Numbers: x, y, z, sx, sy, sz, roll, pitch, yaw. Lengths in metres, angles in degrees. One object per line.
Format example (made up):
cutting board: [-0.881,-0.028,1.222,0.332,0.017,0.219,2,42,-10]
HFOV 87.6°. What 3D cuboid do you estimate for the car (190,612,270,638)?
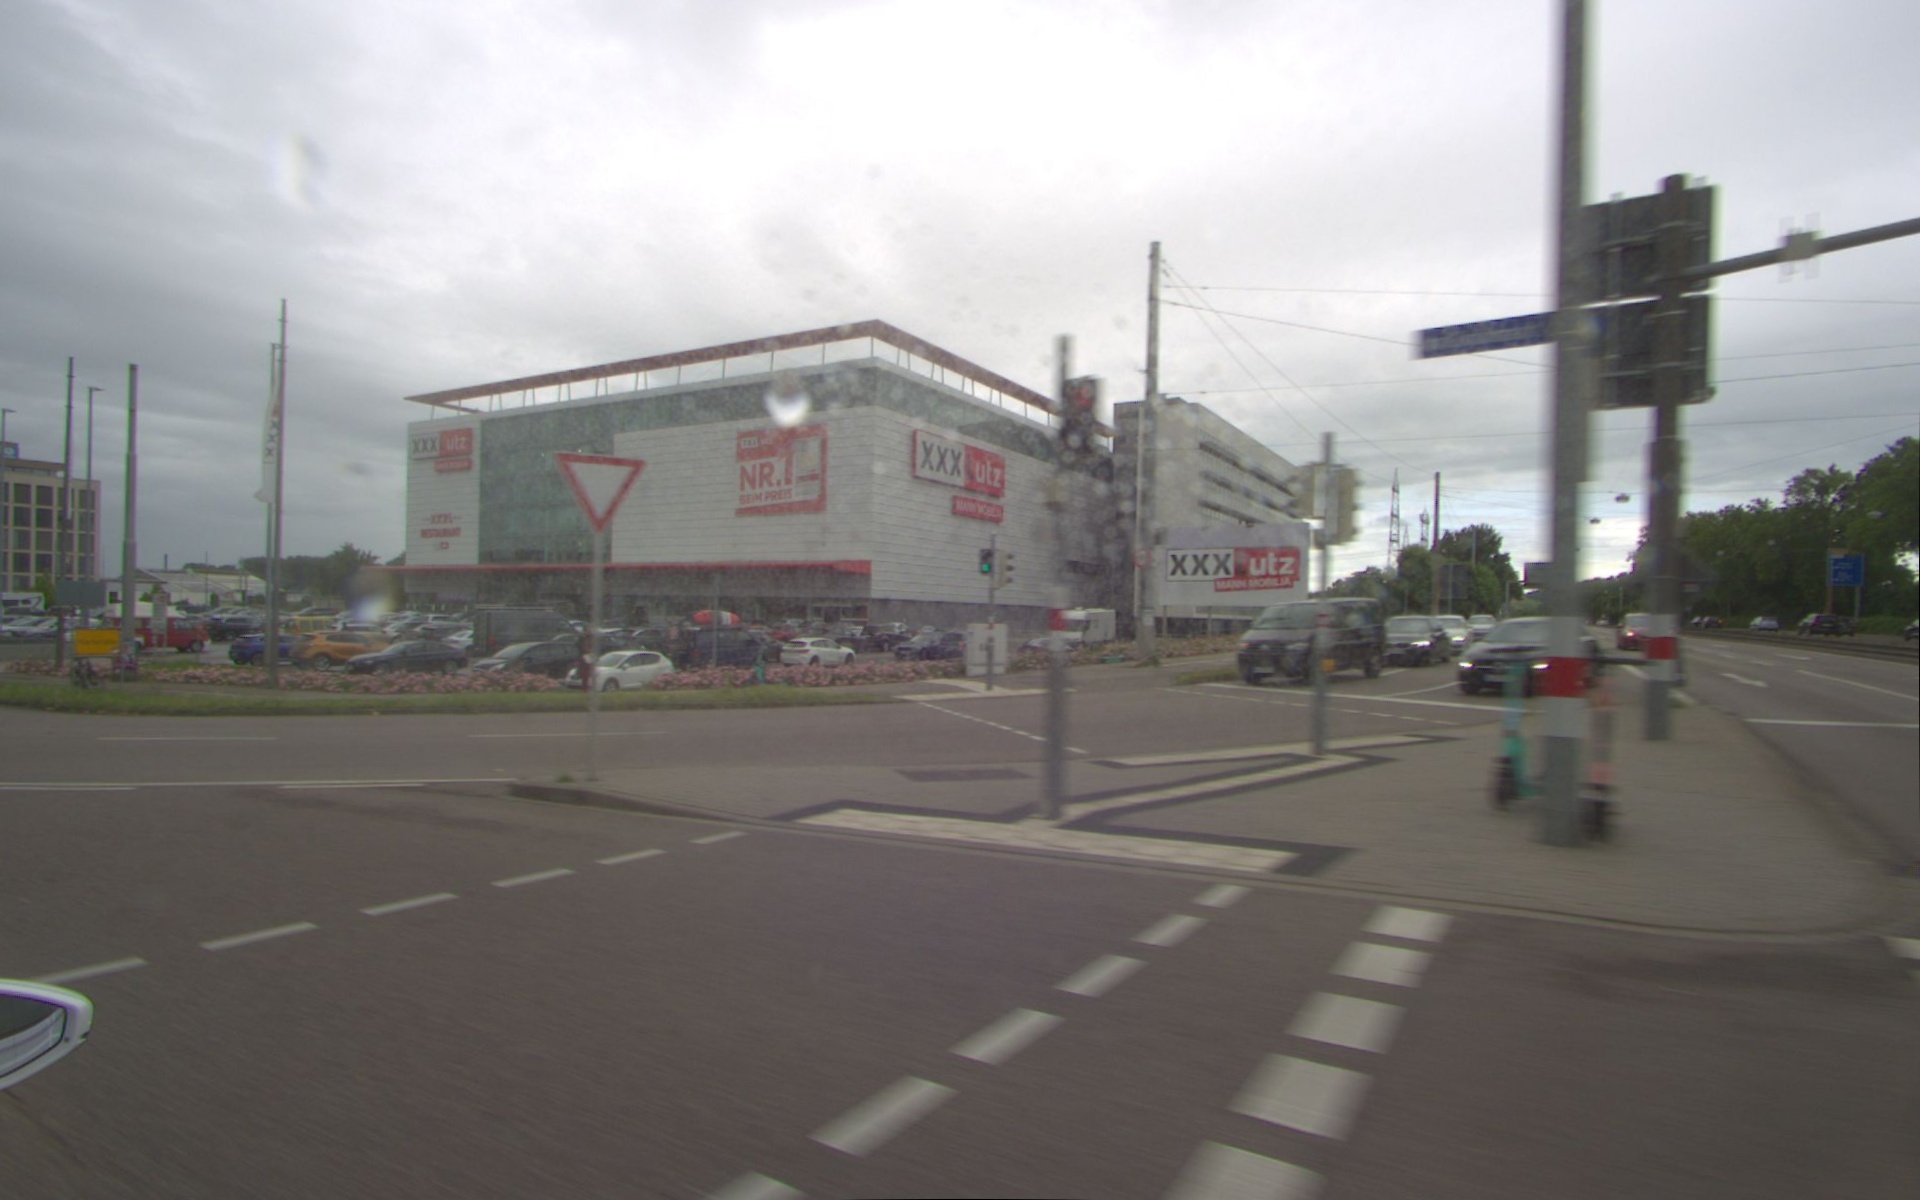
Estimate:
car: [-50.939,1.769,69.959,1.808,1.685,4.164,0,-2,34]

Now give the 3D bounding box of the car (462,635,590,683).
car: [-15.995,2.135,37.112,1.743,1.604,4.086,2,-1,31]

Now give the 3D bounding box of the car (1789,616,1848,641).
car: [60.801,1.979,71.011,1.806,1.658,4.307,2,0,22]

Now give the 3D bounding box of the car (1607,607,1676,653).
car: [27.376,1.199,40.311,1.970,1.750,3.982,0,-1,30]

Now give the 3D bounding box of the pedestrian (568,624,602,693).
pedestrian: [-9.087,1.407,24.278,0.704,1.617,0.782,-1,-1,-19]

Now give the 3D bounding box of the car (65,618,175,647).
car: [-47.381,1.849,56.590,1.932,1.480,4.367,3,0,33]

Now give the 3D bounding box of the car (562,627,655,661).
car: [-17.297,2.159,49.404,1.922,1.575,3.975,0,-2,37]

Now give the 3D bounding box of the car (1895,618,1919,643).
car: [62.379,2.010,64.389,1.831,1.582,4.306,4,1,23]

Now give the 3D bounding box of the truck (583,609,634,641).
truck: [-27.785,1.979,79.277,1.713,2.417,3.566,0,-2,30]

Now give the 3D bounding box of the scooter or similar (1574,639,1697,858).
scooter or similar: [4.374,0.902,6.465,0.460,1.272,1.009,-2,-1,44]

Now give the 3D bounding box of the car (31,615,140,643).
car: [-51.190,1.712,58.690,1.840,1.437,4.458,3,0,33]

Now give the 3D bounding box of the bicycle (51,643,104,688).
bicycle: [-21.700,1.598,24.619,1.670,1.062,0.661,-1,-2,38]

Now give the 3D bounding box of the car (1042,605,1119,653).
car: [8.504,2.040,70.105,2.727,3.028,6.921,3,0,30]

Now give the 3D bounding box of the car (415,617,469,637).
car: [-42.951,2.251,83.089,1.716,1.607,3.560,0,-2,35]

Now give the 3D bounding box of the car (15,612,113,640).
car: [-53.666,1.578,60.032,1.738,1.561,4.047,3,0,33]

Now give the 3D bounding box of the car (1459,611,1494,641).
car: [30.459,1.564,59.037,1.719,1.623,4.060,3,0,28]

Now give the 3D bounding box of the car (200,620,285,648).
car: [-48.893,2.303,68.299,1.862,1.766,4.304,3,-1,34]

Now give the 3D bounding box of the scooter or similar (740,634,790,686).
scooter or similar: [-4.732,1.452,24.329,1.143,1.248,0.346,1,-2,-7]

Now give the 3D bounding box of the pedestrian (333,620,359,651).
pedestrian: [-35.421,2.027,57.764,0.872,1.742,0.938,3,0,30]

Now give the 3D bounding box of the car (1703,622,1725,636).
car: [89.203,3.416,118.501,1.726,1.450,3.358,3,1,32]

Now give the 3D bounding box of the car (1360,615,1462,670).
car: [13.497,1.200,29.815,1.943,1.483,4.294,1,0,36]

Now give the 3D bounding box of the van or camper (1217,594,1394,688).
van or camper: [8.416,0.928,24.190,4.705,2.039,2.104,0,-1,-44]

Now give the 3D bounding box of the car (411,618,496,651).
car: [-28.225,1.912,55.915,1.803,1.676,3.886,2,1,29]

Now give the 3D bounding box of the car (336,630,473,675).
car: [-22.465,2.098,40.651,1.745,1.604,4.516,3,0,34]

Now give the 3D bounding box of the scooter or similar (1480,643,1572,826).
scooter or similar: [4.309,0.975,7.606,0.317,1.272,1.105,-2,-2,44]

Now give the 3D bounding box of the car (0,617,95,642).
car: [-55.773,1.801,61.166,1.807,1.368,4.050,3,0,30]

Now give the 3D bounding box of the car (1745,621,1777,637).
car: [81.301,2.998,101.684,1.792,1.500,3.659,3,0,27]

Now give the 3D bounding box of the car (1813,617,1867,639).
car: [71.521,2.239,81.447,1.830,1.582,4.307,4,1,22]

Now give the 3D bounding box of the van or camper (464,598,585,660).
van or camper: [-22.210,1.481,51.243,1.967,3.022,5.359,0,-1,39]

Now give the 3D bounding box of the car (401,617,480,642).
car: [-33.672,1.945,64.975,1.714,1.488,4.232,3,-1,33]

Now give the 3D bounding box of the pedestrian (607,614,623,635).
pedestrian: [-31.472,2.210,91.421,0.952,1.894,0.949,3,0,12]

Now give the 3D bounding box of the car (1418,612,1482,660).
car: [17.804,1.272,36.319,1.707,1.559,4.027,3,1,31]

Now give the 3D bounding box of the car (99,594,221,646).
car: [-43.280,1.128,54.282,2.139,2.613,4.715,3,0,33]
